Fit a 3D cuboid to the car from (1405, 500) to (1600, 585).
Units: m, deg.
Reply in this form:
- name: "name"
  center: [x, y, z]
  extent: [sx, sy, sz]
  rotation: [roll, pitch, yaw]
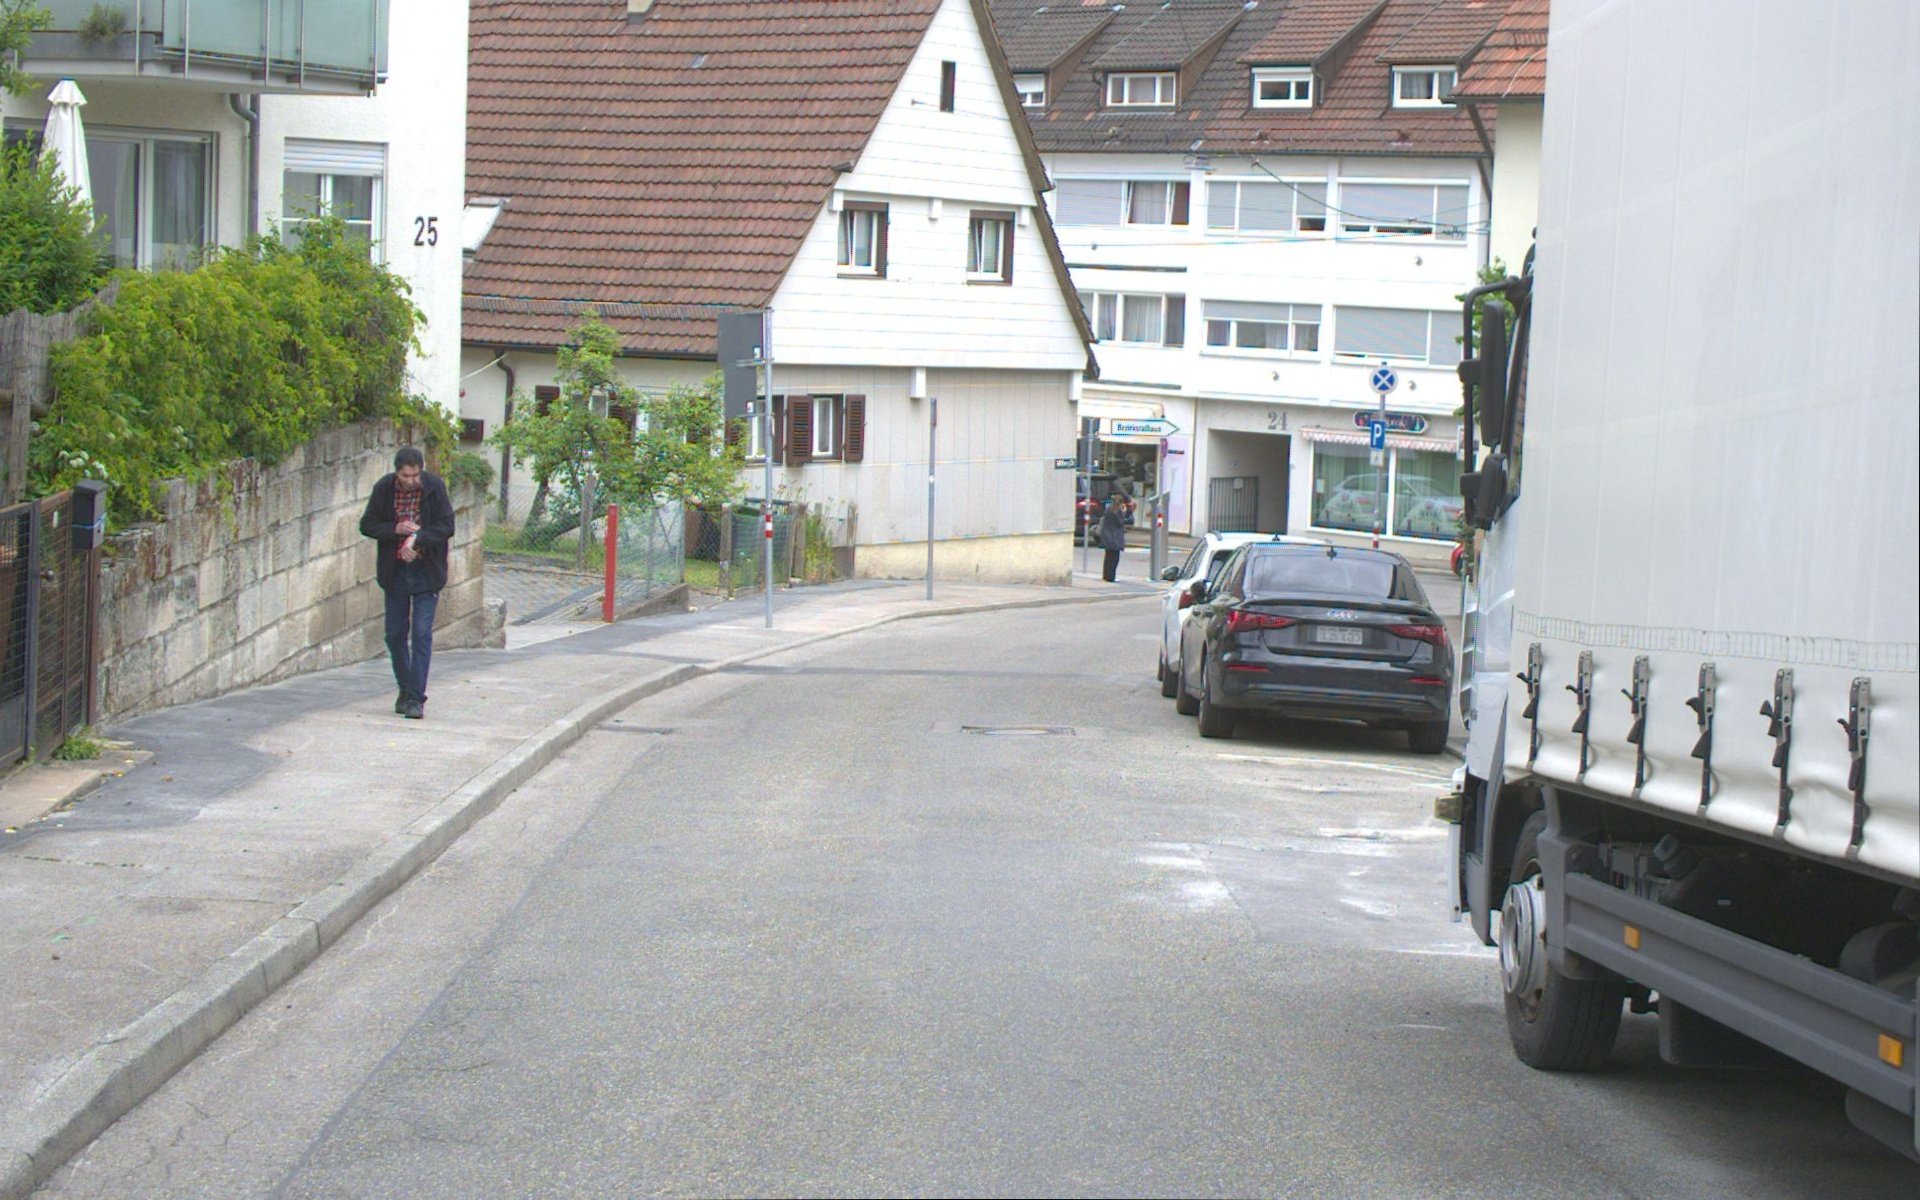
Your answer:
- name: "car"
  center: [11.371, -1.214, 72.216]
  extent: [1.693, 1.551, 3.694]
  rotation: [0, 4, -44]

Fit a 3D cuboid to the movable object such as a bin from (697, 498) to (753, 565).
- name: "movable object such as a bin"
  center: [-3.435, -0.999, 50.175]
  extent: [0.528, 0.914, 0.489]
  rotation: [8, 2, 34]

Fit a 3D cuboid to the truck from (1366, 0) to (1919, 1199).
- name: "truck"
  center: [2.899, -0.359, 7.084]
  extent: [2.675, 3.584, 8.107]
  rotation: [3, 1, -2]

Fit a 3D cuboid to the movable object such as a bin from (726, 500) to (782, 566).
- name: "movable object such as a bin"
  center: [-2.992, -0.975, 49.904]
  extent: [0.528, 0.881, 0.489]
  rotation: [8, 2, 34]

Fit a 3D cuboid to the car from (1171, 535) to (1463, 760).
- name: "car"
  center: [2.558, 0.285, 25.479]
  extent: [1.674, 1.403, 4.052]
  rotation: [4, 1, 0]

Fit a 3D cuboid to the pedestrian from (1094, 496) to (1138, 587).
- name: "pedestrian"
  center: [2.970, -1.117, 65.570]
  extent: [0.646, 1.679, 0.604]
  rotation: [2, 3, -9]

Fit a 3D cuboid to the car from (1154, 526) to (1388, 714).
- name: "car"
  center: [2.711, 0.127, 30.777]
  extent: [1.795, 1.440, 4.297]
  rotation: [4, 1, 3]

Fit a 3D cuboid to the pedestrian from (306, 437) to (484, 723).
- name: "pedestrian"
  center: [-3.485, -0.130, 21.276]
  extent: [0.840, 1.672, 0.977]
  rotation: [4, 1, -1]

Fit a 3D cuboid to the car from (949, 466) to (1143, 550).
- name: "car"
  center: [1.994, -2.185, 80.930]
  extent: [4.366, 1.773, 1.942]
  rotation: [5, 4, 44]

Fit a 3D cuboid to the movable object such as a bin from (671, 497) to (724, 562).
- name: "movable object such as a bin"
  center: [-3.858, -1.038, 50.529]
  extent: [0.495, 0.875, 0.452]
  rotation: [8, 2, 35]
